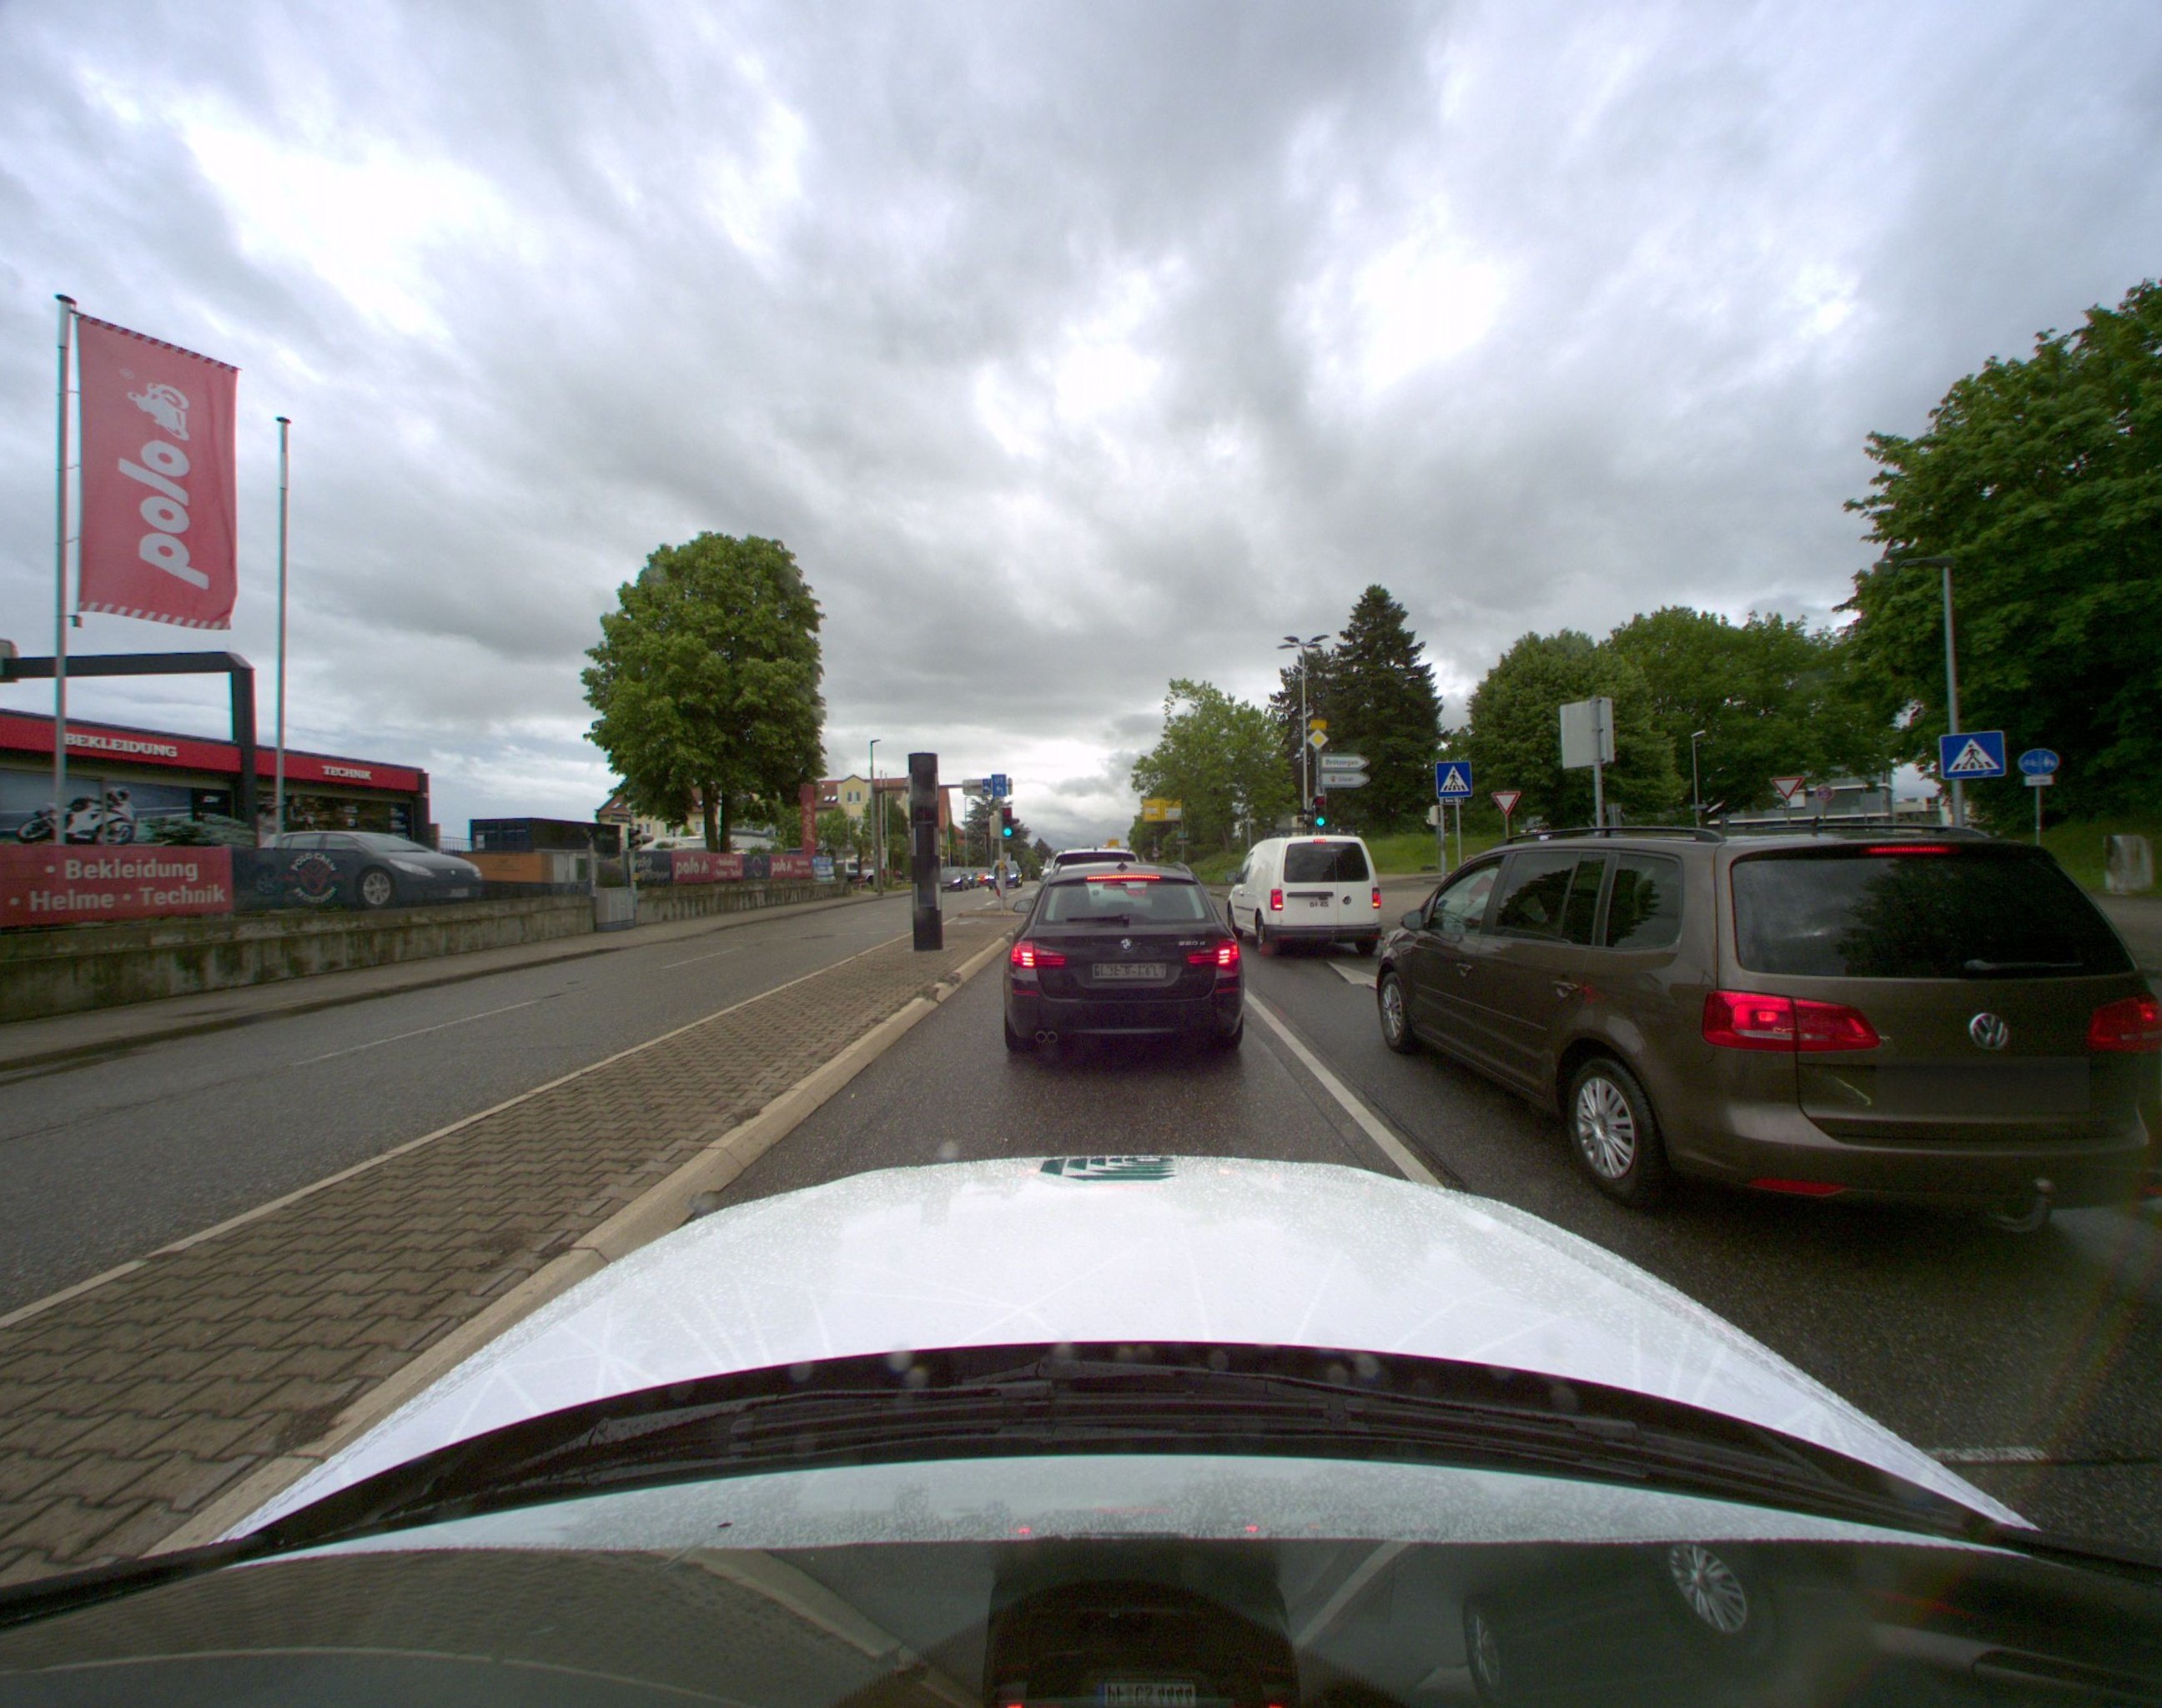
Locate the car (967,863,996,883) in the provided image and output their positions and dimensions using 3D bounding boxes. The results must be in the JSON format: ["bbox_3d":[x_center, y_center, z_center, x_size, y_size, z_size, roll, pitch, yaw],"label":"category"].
[{"bbox_3d":[-7.566,1.412,62.020,1.617,1.332,3.947,-3,0,1],"label":"car"}]

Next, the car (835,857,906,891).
[{"bbox_3d":[-14.556,1.377,56.345,4.410,2.013,1.982,-3,0,-27],"label":"car"}]

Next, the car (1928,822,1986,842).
[{"bbox_3d":[59.824,-1.493,55.614,4.009,1.255,1.709,-2,0,-28],"label":"car"}]

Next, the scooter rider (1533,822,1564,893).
[{"bbox_3d":[13.074,0.098,22.765,0.499,1.965,0.548,-2,0,1],"label":"scooter rider"}]

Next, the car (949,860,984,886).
[{"bbox_3d":[-7.879,1.281,56.192,1.670,1.618,4.001,-3,0,1],"label":"car"}]

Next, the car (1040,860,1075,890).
[{"bbox_3d":[-1.352,1.201,48.513,1.833,1.649,4.297,-2,0,1],"label":"car"}]

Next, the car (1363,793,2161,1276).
[{"bbox_3d":[3.143,0.620,4.732,1.740,1.609,3.982,-1,0,2],"label":"car"}]

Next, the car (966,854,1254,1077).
[{"bbox_3d":[0.259,0.746,7.415,1.891,1.441,4.002,-1,0,2],"label":"car"}]

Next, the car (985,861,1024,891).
[{"bbox_3d":[-4.623,1.297,49.753,1.833,1.649,4.297,-3,0,1],"label":"car"}]

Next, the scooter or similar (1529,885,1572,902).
[{"bbox_3d":[13.109,1.104,22.770,0.485,0.403,1.256,-2,0,1],"label":"scooter or similar"}]

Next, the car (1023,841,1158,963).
[{"bbox_3d":[0.201,0.655,13.353,1.861,1.673,4.002,-1,0,2],"label":"car"}]

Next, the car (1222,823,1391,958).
[{"bbox_3d":[3.519,0.502,13.406,1.758,1.877,3.806,-1,0,1],"label":"car"}]

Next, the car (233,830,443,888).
[{"bbox_3d":[-16.900,0.106,18.632,3.376,1.167,1.453,-2,0,-1],"label":"car"}]

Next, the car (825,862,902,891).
[{"bbox_3d":[-15.699,1.639,58.855,5.024,1.702,1.982,-3,-3,-27],"label":"car"}]

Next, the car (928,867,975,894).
[{"bbox_3d":[-7.774,1.543,49.308,1.910,1.379,4.127,-4,0,2],"label":"car"}]
